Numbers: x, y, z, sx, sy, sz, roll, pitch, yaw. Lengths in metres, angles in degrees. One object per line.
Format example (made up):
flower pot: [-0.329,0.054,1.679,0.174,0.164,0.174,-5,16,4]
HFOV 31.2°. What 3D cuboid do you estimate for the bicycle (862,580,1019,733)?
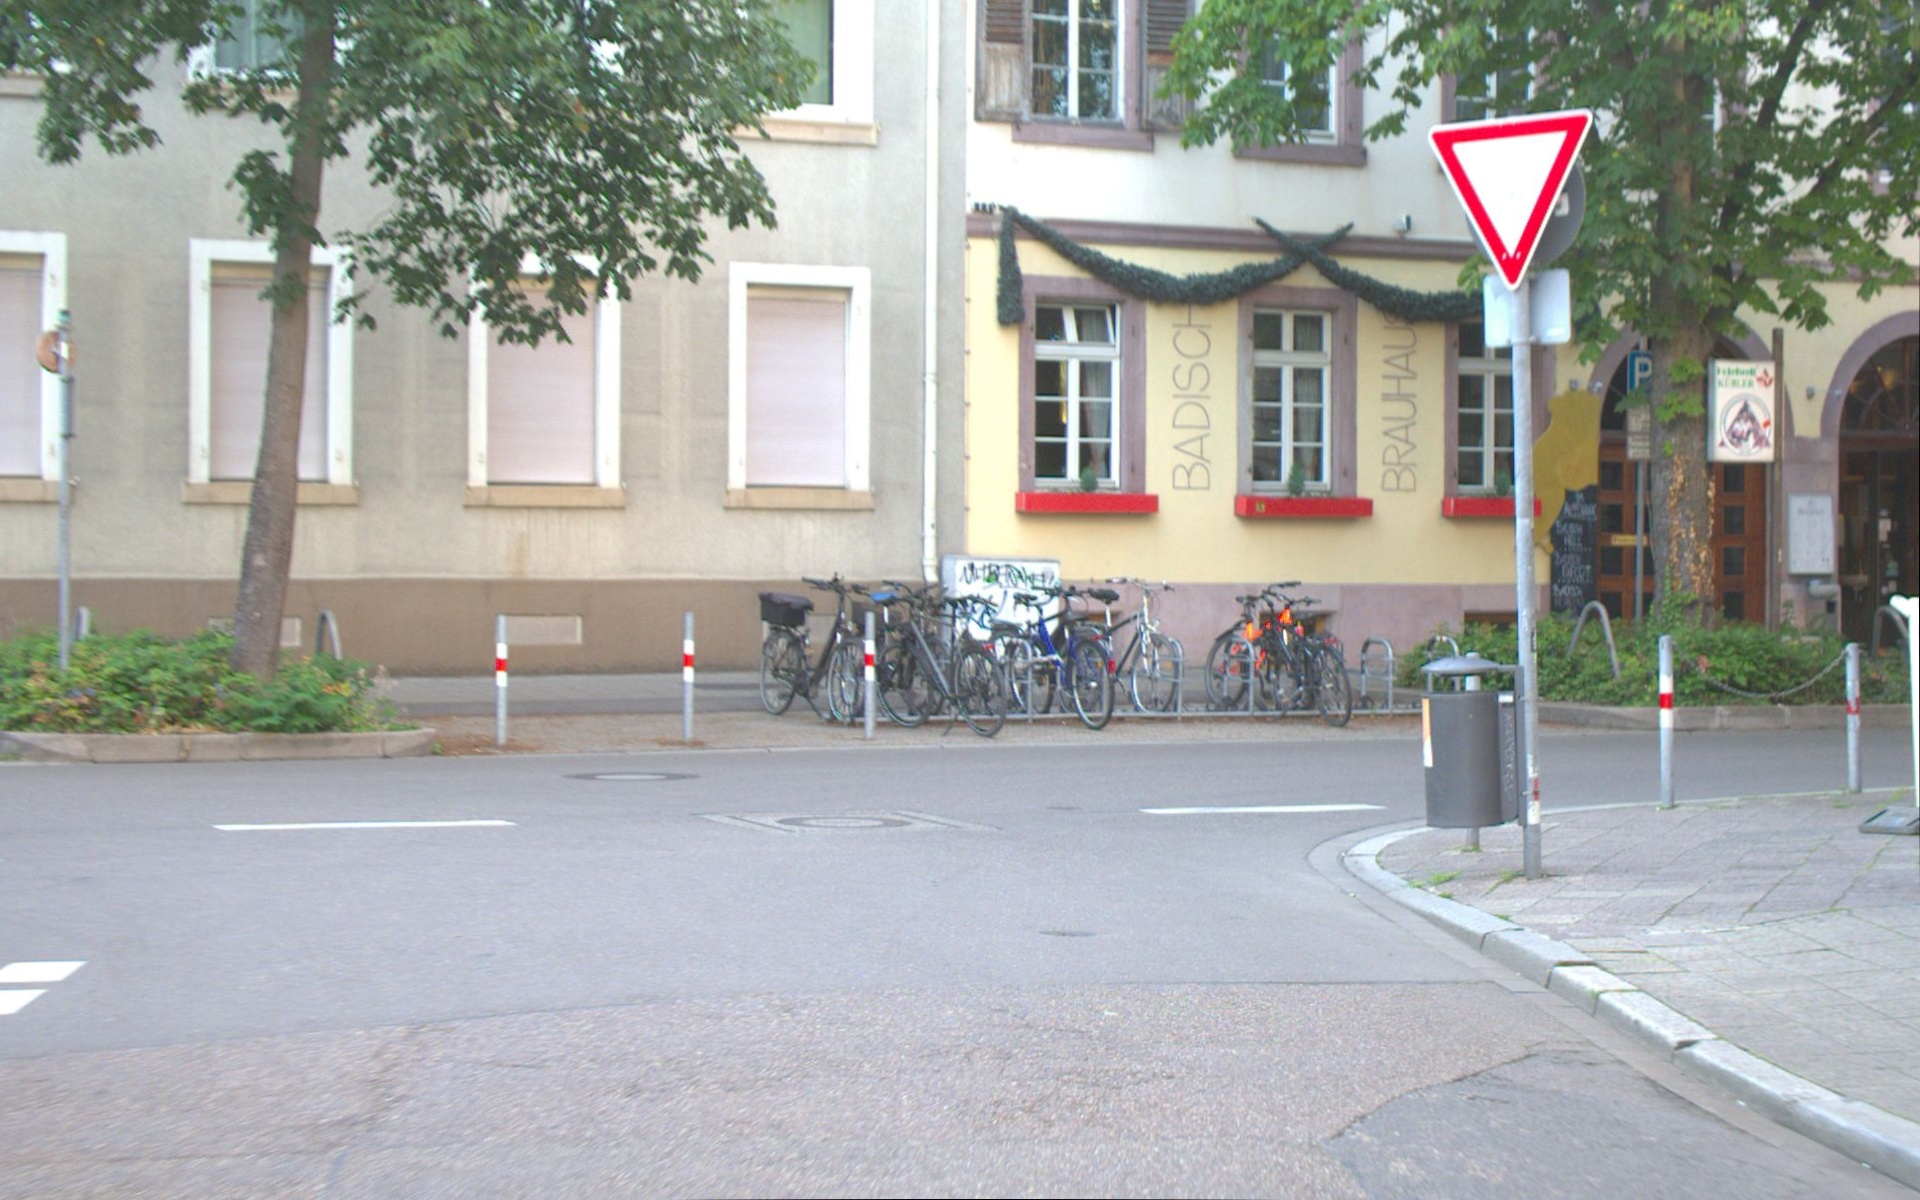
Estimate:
bicycle: [-0.171,0.422,27.087,0.445,1.141,2.043,0,1,-24]

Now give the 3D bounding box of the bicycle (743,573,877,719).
bicycle: [-1.249,0.357,28.264,0.445,1.141,2.043,0,1,-22]

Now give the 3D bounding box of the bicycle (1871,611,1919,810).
bicycle: [6.001,0.588,19.339,1.864,1.085,0.364,-1,0,-25]

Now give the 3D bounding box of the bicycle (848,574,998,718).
bicycle: [-0.327,0.363,28.697,0.420,1.141,2.043,0,1,-26]

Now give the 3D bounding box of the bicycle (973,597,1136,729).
bicycle: [0.748,0.495,27.915,0.420,1.000,2.043,0,1,-26]

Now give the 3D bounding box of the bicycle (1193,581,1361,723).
bicycle: [2.667,0.420,29.146,0.420,1.141,2.043,0,1,-26]

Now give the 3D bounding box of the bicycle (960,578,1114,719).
bicycle: [0.637,0.391,29.351,0.420,1.141,2.043,0,1,-26]

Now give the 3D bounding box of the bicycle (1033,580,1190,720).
bicycle: [1.285,0.408,29.607,0.420,1.141,2.043,0,1,-26]
